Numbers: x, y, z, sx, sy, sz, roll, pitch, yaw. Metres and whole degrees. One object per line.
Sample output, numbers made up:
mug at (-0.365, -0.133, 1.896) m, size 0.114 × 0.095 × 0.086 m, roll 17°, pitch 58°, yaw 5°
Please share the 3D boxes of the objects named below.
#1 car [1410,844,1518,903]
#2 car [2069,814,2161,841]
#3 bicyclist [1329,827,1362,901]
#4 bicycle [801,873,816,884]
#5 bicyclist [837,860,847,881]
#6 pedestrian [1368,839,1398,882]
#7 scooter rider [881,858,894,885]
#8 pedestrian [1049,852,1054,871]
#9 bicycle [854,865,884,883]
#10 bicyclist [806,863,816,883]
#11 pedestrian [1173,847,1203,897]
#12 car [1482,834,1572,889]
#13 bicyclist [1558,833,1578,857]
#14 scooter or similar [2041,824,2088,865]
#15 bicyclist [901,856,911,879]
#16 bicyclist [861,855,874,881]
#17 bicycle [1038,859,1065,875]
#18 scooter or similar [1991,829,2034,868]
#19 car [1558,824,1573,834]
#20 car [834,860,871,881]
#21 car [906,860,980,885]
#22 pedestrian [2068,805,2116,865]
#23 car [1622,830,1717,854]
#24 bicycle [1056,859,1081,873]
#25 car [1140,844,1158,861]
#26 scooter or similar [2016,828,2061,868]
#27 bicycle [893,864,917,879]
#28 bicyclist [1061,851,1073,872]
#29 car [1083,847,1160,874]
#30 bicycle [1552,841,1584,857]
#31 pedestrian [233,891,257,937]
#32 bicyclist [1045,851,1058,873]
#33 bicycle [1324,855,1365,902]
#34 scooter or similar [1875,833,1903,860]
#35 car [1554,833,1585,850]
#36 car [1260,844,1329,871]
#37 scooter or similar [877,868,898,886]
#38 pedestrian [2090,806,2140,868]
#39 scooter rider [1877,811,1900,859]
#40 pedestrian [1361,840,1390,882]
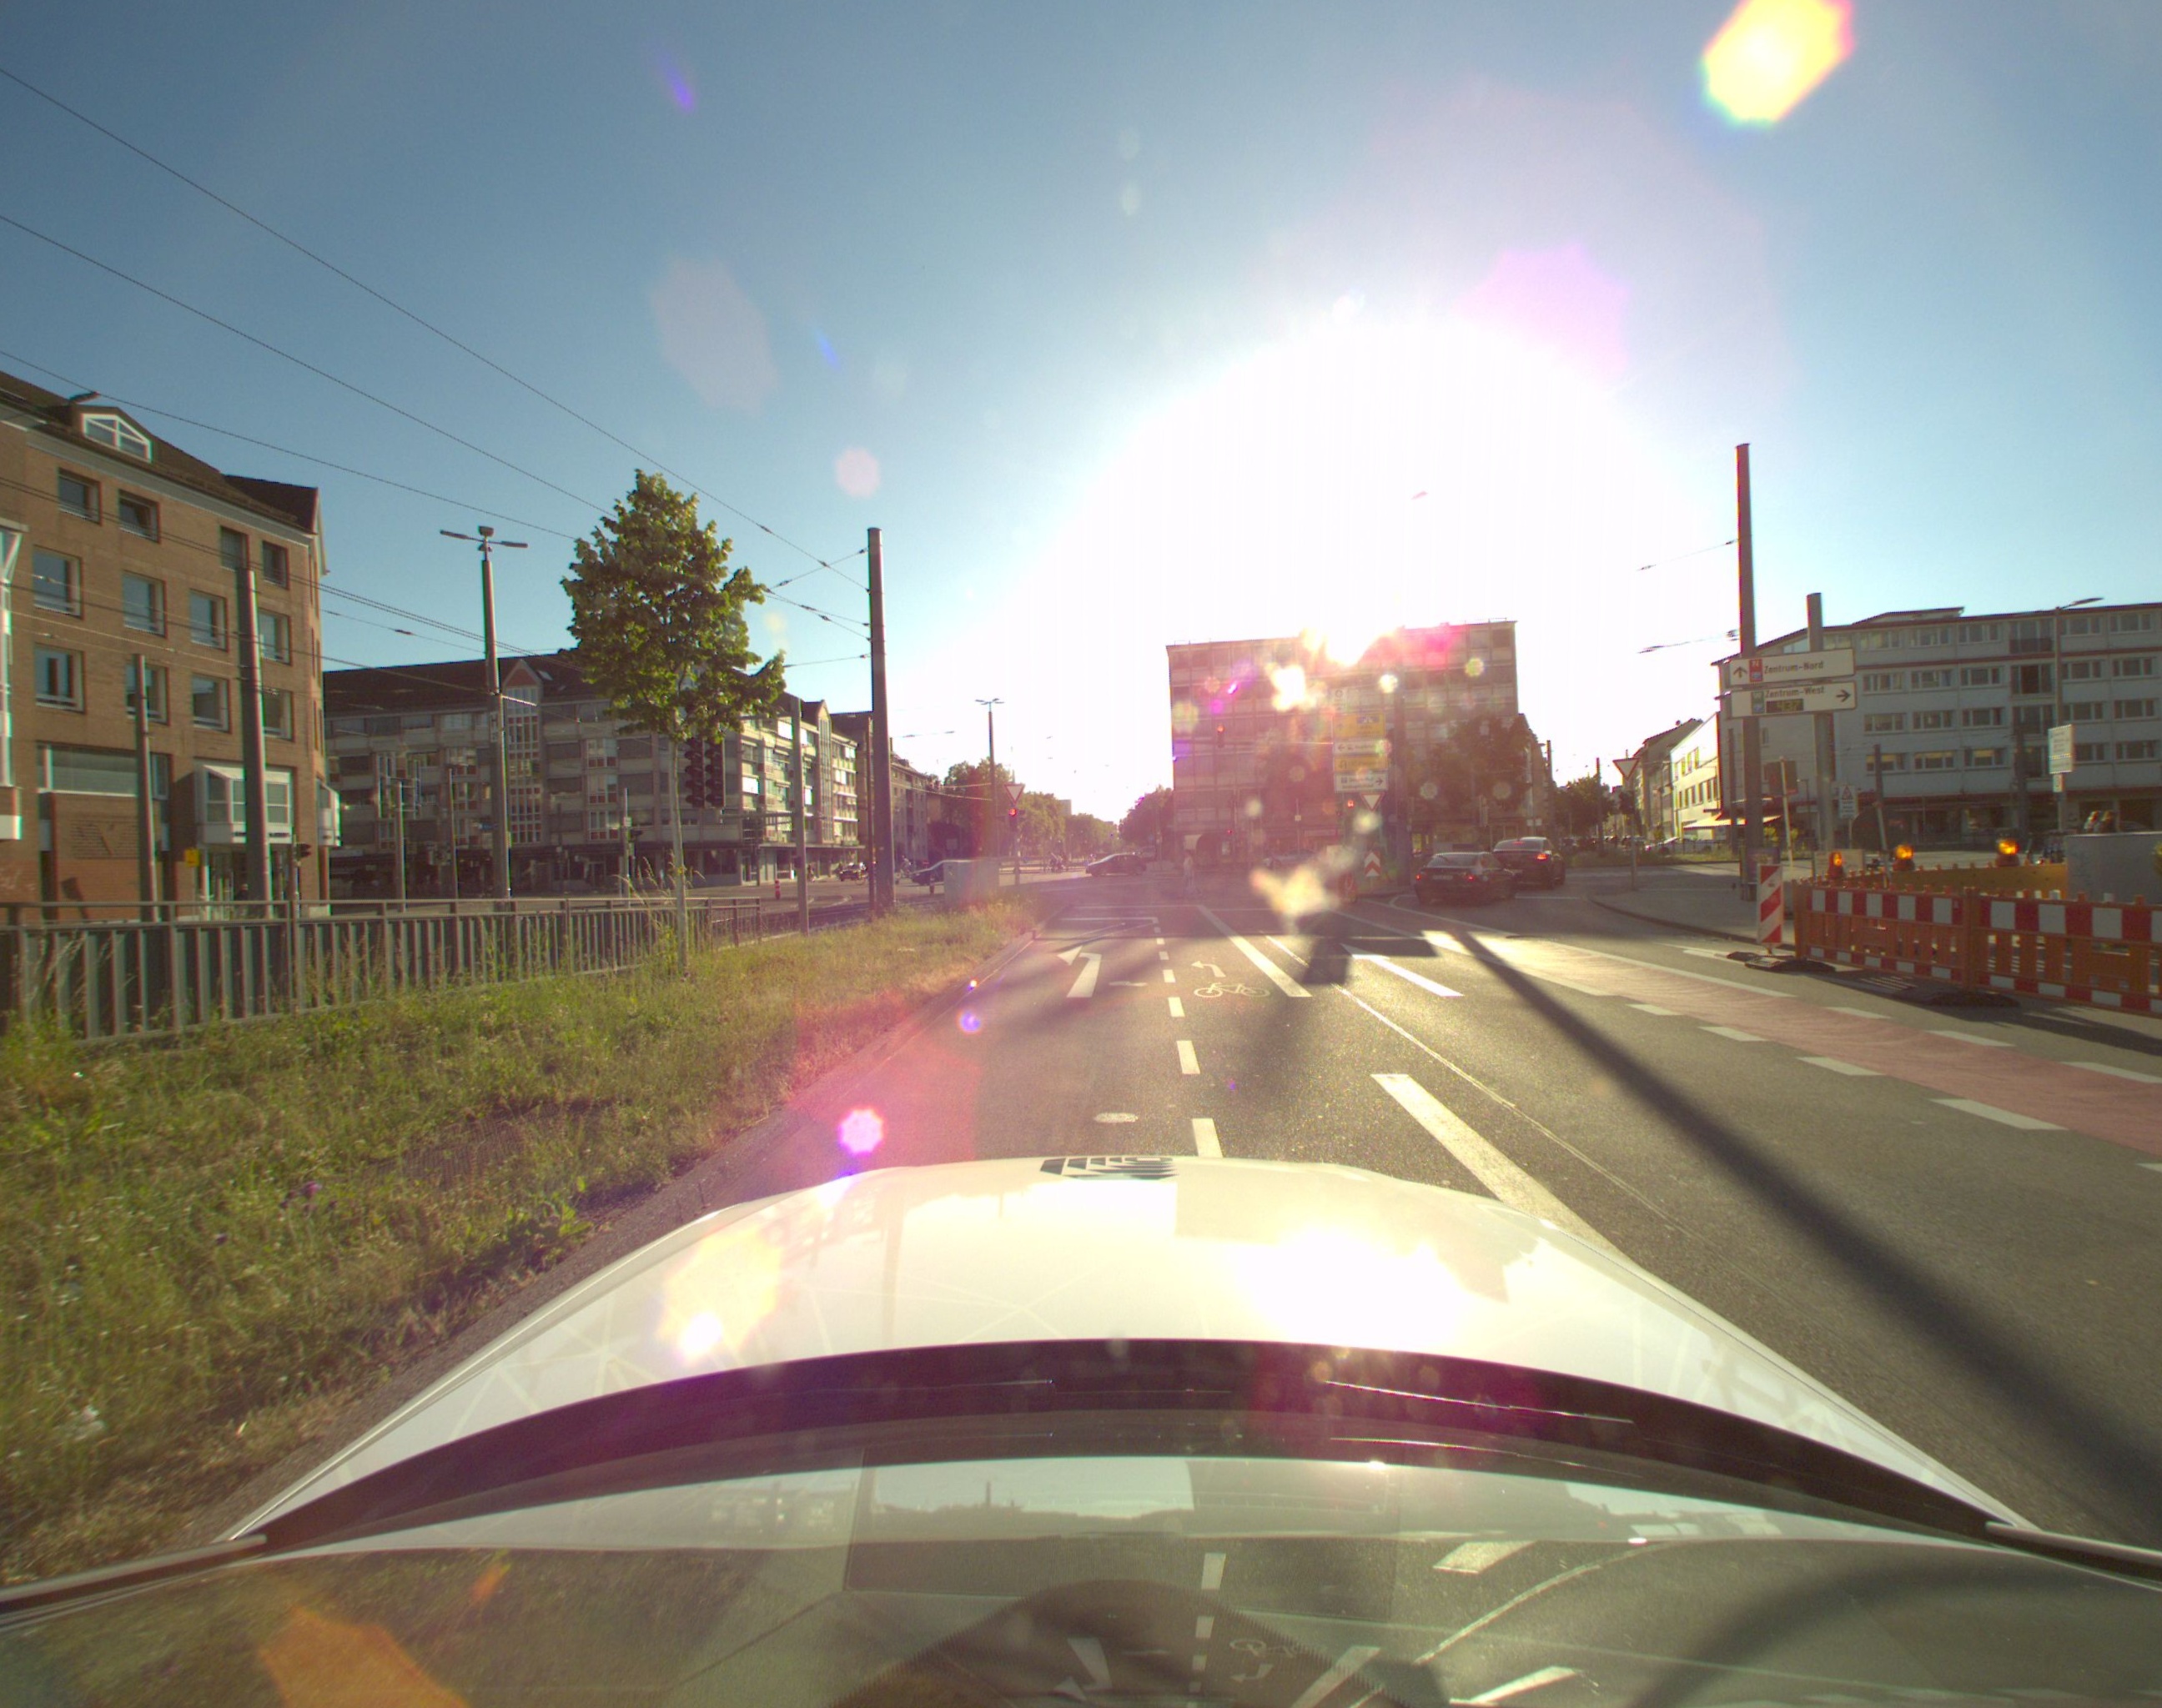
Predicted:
car at (10.484, 0.482, 22.124) m, size 1.727 × 1.426 × 4.026 m, roll -2°, pitch 0°, yaw 39°
car at (66.846, -1.681, 52.139) m, size 4.282 × 1.578 × 2.006 m, roll -2°, pitch 0°, yaw 10°
bicyclist at (7.424, 0.264, 22.864) m, size 0.640 × 2.013 × 1.068 m, roll 0°, pitch 1°, yaw 4°
bicycle at (-25.154, 2.260, 75.295) m, size 0.595 × 0.915 × 1.839 m, roll -3°, pitch 0°, yaw 5°
bicyclist at (-24.154, 1.649, 82.312) m, size 0.599 × 2.013 × 0.781 m, roll -2°, pitch 0°, yaw 7°
pedestrian at (11.623, 0.252, 31.367) m, size 0.875 × 1.597 × 0.655 m, roll -3°, pitch 0°, yaw 1°
scooter rider at (-12.286, 1.111, 51.800) m, size 0.663 × 1.712 × 0.525 m, roll -3°, pitch 0°, yaw -6°
pedestrian at (-2.475, 0.635, 68.256) m, size 0.365 × 1.508 × 0.542 m, roll -3°, pitch 0°, yaw -3°
bicycle at (-14.116, 1.328, 54.218) m, size 1.789 × 1.072 × 0.529 m, roll -3°, pitch 0°, yaw -35°
bicyclist at (-25.123, 1.781, 75.787) m, size 0.590 × 1.862 × 0.643 m, roll -3°, pitch 0°, yaw 5°
pedestrian at (3.516, 0.579, 26.732) m, size 0.875 × 1.597 × 0.656 m, roll -3°, pitch 0°, yaw 3°
car at (15.247, 0.195, 27.737) m, size 1.974 × 1.693 × 4.026 m, roll 0°, pitch 2°, yaw 39°
bicyclist at (35.939, -0.682, 60.092) m, size 1.036 × 1.739 × 0.678 m, roll -2°, pitch 0°, yaw -1°
scooter or similar at (31.722, -0.317, 26.294) m, size 0.563 × 1.259 × 1.352 m, roll -2°, pitch 0°, yaw 33°
bicyclist at (-13.599, 1.047, 63.294) m, size 0.663 × 1.712 × 0.537 m, roll -3°, pitch 0°, yaw -6°
bicyclist at (-14.193, 0.922, 54.182) m, size 0.668 × 1.712 × 0.533 m, roll -2°, pitch 0°, yaw -34°
bicycle at (-2.297, 1.015, 63.940) m, size 2.087 × 1.137 × 0.658 m, roll -3°, pitch 0°, yaw -1°
scooter or similar at (30.607, -0.191, 26.771) m, size 0.563 × 1.259 × 1.352 m, roll -2°, pitch 0°, yaw 33°
car at (75.361, -3.930, 126.711) m, size 1.974 × 1.398 × 4.025 m, roll -3°, pitch 0°, yaw 30°
car at (-22.228, 1.607, 79.274) m, size 1.983 × 1.859 × 4.007 m, roll -3°, pitch 0°, yaw 6°
car at (-8.340, 1.106, 49.395) m, size 4.017 × 1.288 × 1.827 m, roll -3°, pitch 0°, yaw -35°
pedestrian at (31.377, -0.581, 25.282) m, size 0.725 × 1.824 × 0.597 m, roll -2°, pitch 0°, yaw -6°
car at (40.278, -0.809, 55.849) m, size 4.881 × 1.479 × 2.009 m, roll -2°, pitch 0°, yaw 17°
bicycle at (-1.082, 1.042, 71.276) m, size 2.167 × 1.137 × 0.659 m, roll -3°, pitch 0°, yaw -1°
car at (10.028, -0.224, 120.559) m, size 2.475 × 2.392 × 5.939 m, roll -4°, pitch 0°, yaw 3°
scooter or similar at (31.120, -0.199, 26.477) m, size 0.563 × 1.259 × 1.352 m, roll -2°, pitch 0°, yaw 33°
bicycle at (-13.679, 1.384, 63.288) m, size 1.730 × 1.059 × 0.538 m, roll -3°, pitch 0°, yaw -7°
bicyclist at (-1.219, 0.632, 71.263) m, size 0.895 × 1.752 × 0.650 m, roll -3°, pitch 0°, yaw 0°
car at (2.687, 0.436, 54.512) m, size 4.770 × 1.596 × 1.991 m, roll -3°, pitch 0°, yaw -13°
bicycle at (35.916, -0.381, 60.090) m, size 1.966 × 1.098 × 0.677 m, roll -2°, pitch 0°, yaw -1°
pedestrian at (-33.949, 2.444, 33.080) m, size 0.495 × 1.807 × 0.546 m, roll -3°, pitch 0°, yaw 32°
bicyclist at (-2.297, 0.623, 63.941) m, size 0.895 × 1.752 × 0.654 m, roll -3°, pitch 0°, yaw 0°
bicycle at (7.427, 0.662, 23.014) m, size 0.641 × 1.223 × 2.051 m, roll 0°, pitch 2°, yaw 5°
scooter or similar at (32.823, -0.304, 33.067) m, size 1.391 × 1.033 × 0.489 m, roll -2°, pitch 0°, yaw -32°
car at (45.408, -1.158, 75.783) m, size 1.975 × 1.398 × 4.023 m, roll -3°, pitch 0°, yaw 25°
car at (14.730, 0.234, 56.416) m, size 4.310 × 1.596 × 2.003 m, roll -3°, pitch 0°, yaw 6°
scooter or similar at (-12.288, 1.435, 51.798) m, size 1.170 × 1.072 × 0.529 m, roll -3°, pitch 0°, yaw -6°
pedestrian at (31.233, -0.505, 24.604) m, size 0.725 × 1.824 × 0.597 m, roll -2°, pitch 0°, yaw -6°
scooter rider at (32.782, -0.757, 33.062) m, size 0.536 × 1.920 × 0.496 m, roll -2°, pitch 0°, yaw -32°
pedestrian at (11.591, 0.258, 32.079) m, size 0.875 × 1.597 × 0.655 m, roll -3°, pitch 0°, yaw 1°
